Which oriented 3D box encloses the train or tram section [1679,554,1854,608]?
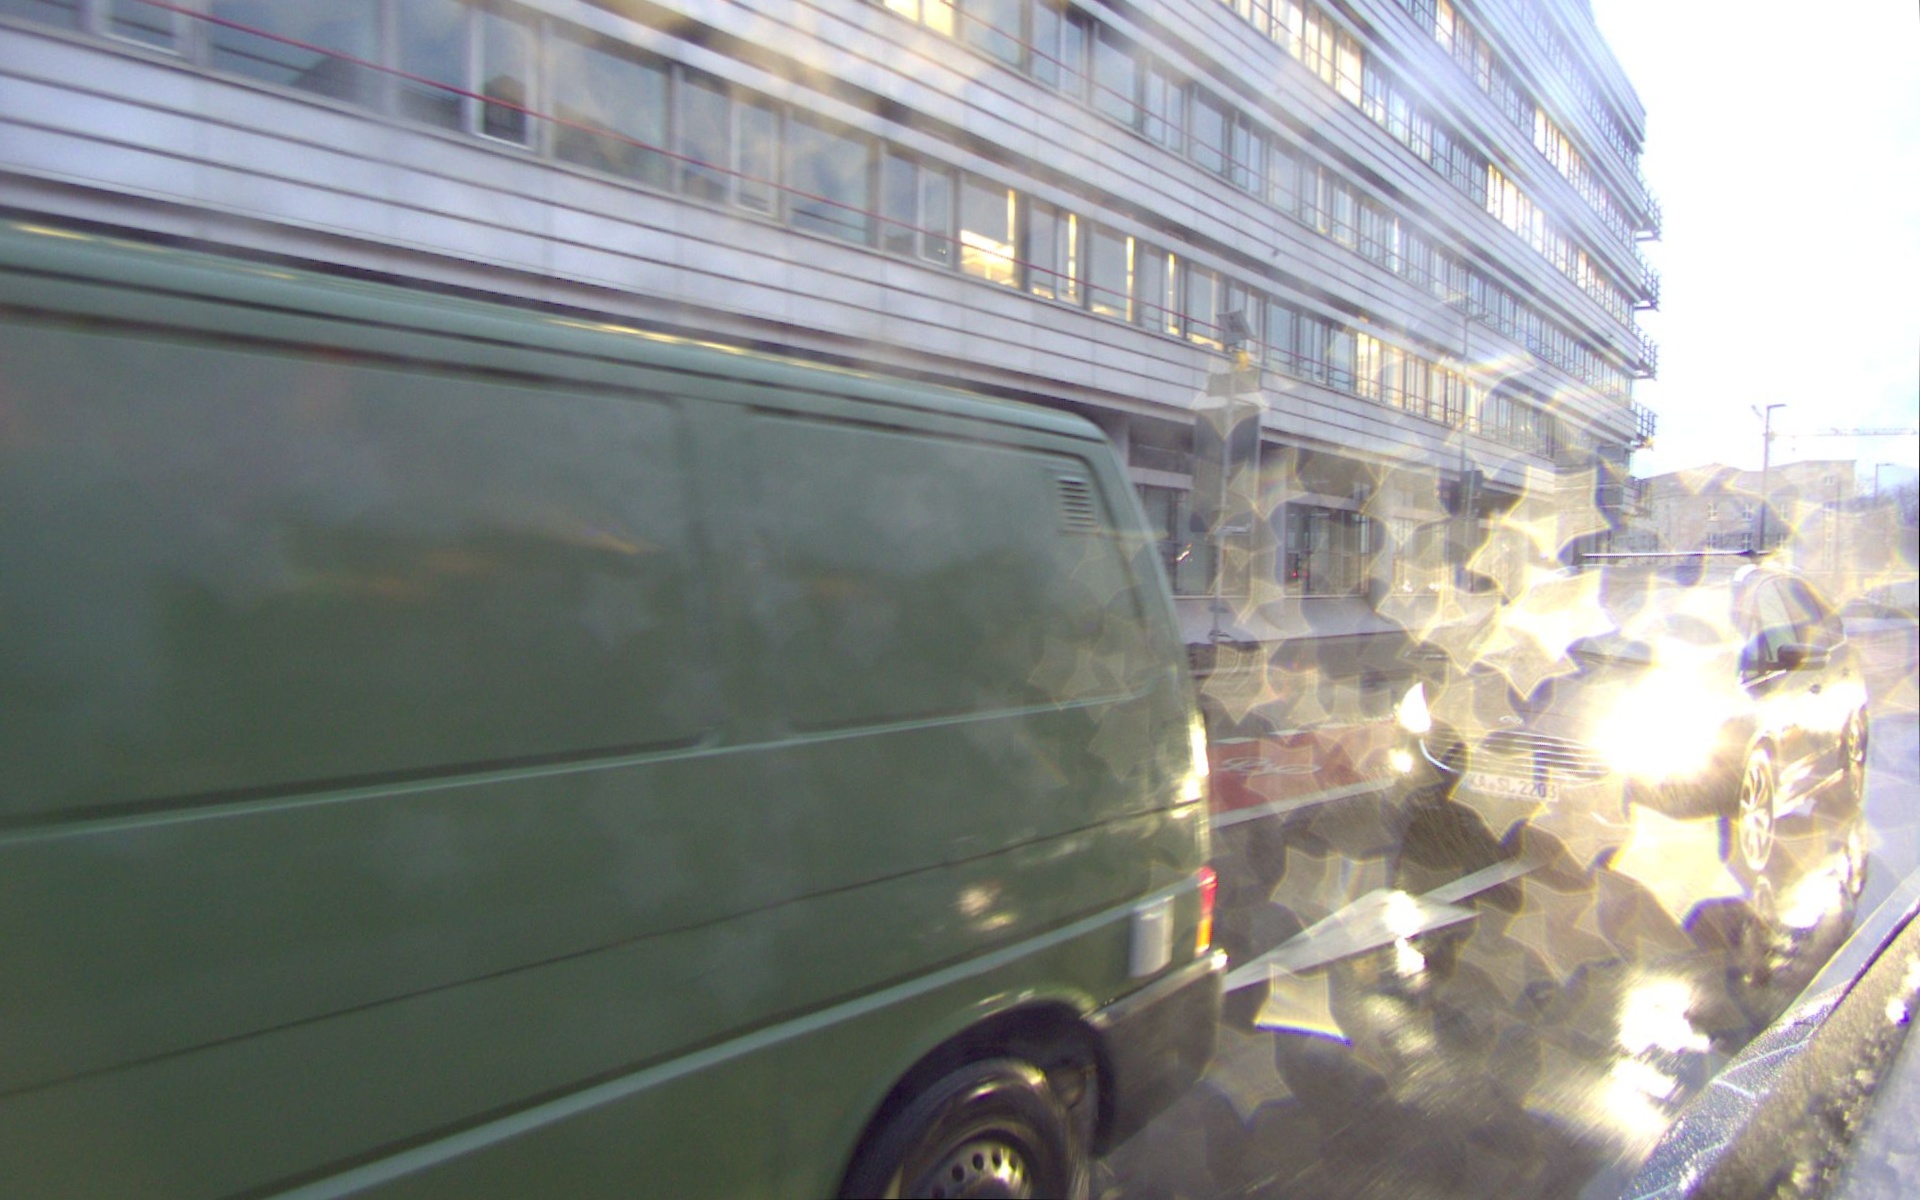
[{"bbox_3d":[79.702,-1.836,100.561,3.662,4.995,13.410,-1,1,-24],"label":"train or tram section"}]

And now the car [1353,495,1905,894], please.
[{"bbox_3d":[4.759,0.413,6.894,4.606,1.842,1.908,-1,0,-40],"label":"car"}]

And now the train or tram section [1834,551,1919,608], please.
[{"bbox_3d":[85.568,-1.804,88.500,3.663,4.921,13.405,-1,1,-27],"label":"train or tram section"}]

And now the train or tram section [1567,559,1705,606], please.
[{"bbox_3d":[75.001,-1.895,112.929,3.660,4.862,13.414,-1,1,-17],"label":"train or tram section"}]

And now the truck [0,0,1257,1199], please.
[{"bbox_3d":[-1.652,0.418,1.509,4.537,1.941,1.907,-1,0,-41],"label":"truck"}]
